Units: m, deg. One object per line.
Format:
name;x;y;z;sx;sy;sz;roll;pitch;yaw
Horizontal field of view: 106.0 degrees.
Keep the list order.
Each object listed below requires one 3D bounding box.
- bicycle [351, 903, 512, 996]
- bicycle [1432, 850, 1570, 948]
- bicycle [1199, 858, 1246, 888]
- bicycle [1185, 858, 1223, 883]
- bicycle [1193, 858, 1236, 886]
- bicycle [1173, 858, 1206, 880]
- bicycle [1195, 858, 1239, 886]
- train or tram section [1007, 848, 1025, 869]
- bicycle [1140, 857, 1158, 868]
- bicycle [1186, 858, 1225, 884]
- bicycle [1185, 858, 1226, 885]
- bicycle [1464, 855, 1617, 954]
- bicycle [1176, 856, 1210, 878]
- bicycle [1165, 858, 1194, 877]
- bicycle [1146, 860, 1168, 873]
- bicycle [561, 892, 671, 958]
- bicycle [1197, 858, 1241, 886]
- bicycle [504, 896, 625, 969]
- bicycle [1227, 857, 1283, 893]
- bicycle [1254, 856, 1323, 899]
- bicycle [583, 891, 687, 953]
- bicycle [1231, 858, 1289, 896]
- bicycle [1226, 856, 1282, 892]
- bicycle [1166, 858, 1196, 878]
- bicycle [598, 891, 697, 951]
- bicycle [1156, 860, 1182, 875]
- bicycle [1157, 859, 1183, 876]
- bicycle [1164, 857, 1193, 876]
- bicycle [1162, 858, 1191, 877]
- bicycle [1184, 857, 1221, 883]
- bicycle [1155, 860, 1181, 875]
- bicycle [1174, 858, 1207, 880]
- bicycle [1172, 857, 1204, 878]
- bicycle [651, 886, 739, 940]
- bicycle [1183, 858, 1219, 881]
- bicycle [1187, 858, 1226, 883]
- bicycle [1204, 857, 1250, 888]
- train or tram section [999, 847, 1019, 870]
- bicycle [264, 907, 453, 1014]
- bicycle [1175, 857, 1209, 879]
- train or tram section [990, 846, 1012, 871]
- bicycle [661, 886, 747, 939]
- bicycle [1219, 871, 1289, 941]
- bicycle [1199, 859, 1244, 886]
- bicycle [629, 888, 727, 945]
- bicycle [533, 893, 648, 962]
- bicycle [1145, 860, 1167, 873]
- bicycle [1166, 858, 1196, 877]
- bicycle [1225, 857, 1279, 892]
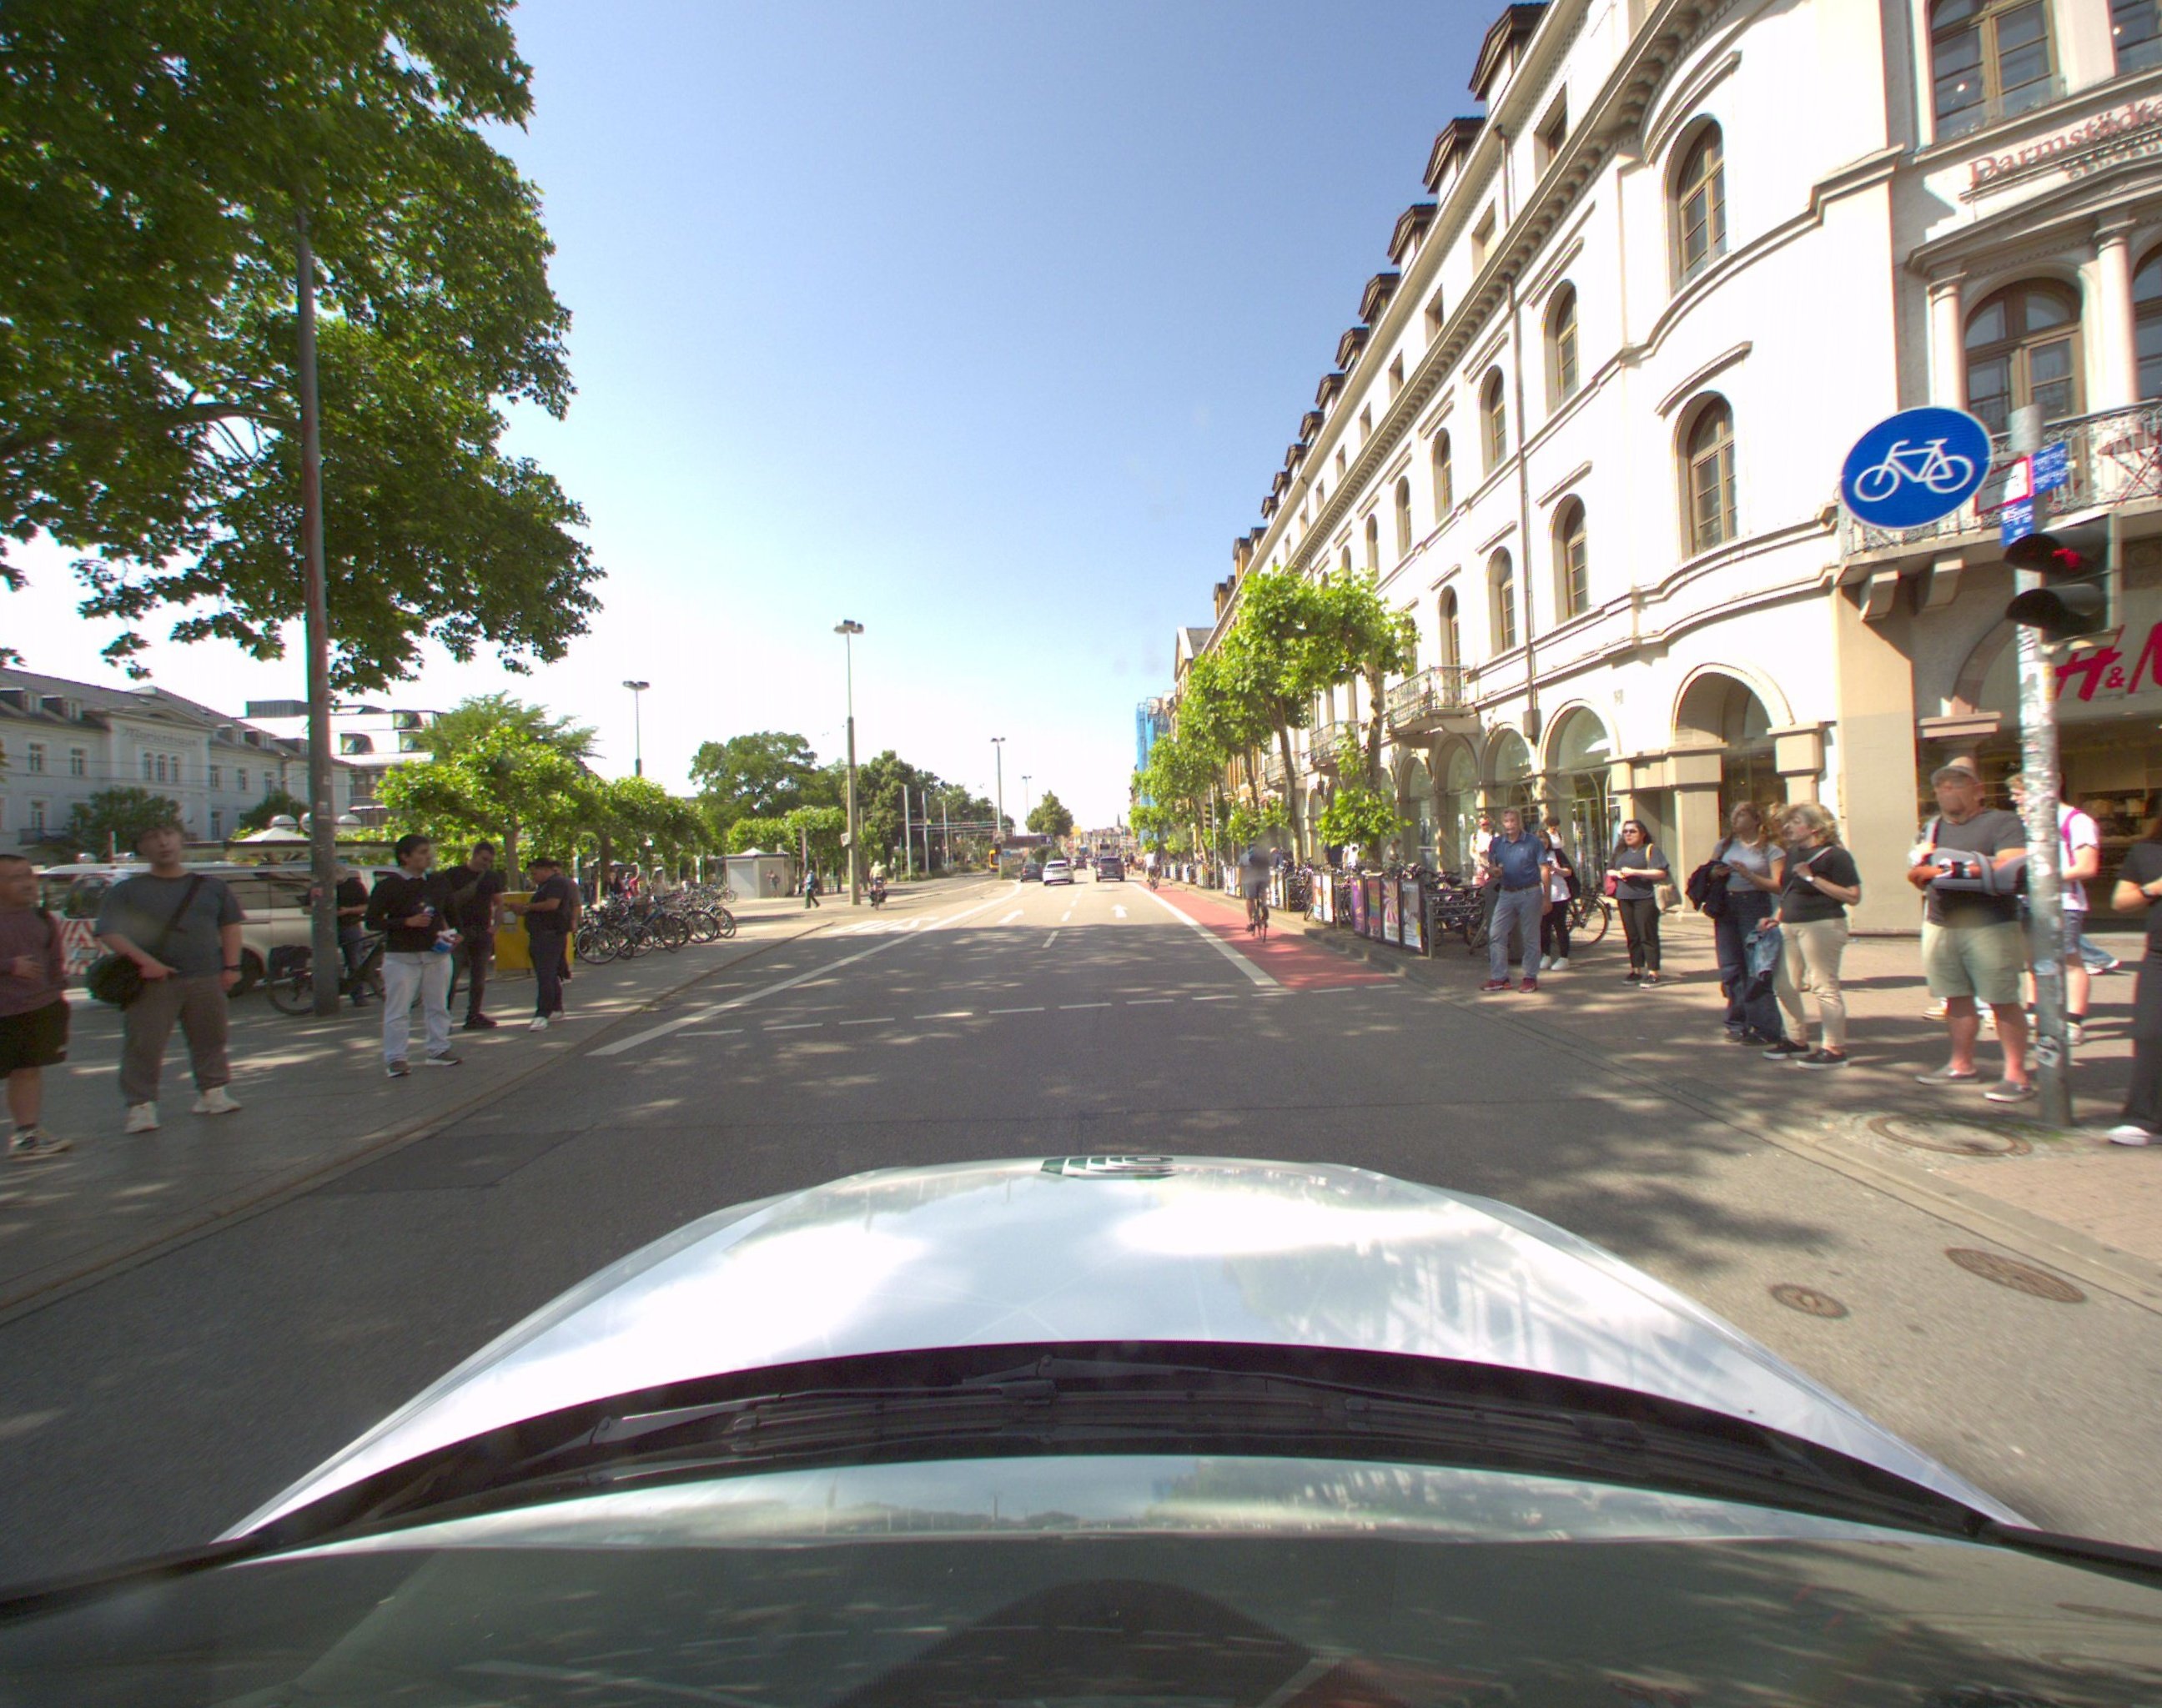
bicycle;-8.789;1.284;11.052;1.748;1.147;0.482;-2;-1;-2
bicycle;5.429;0.571;10.569;1.523;1.197;0.425;-2;-1;1
bicycle;5.731;0.749;33.020;1.748;1.147;0.482;-2;-1;-2
bicycle;5.956;0.792;39.376;1.748;1.147;0.482;-2;-1;-2
bicycle;5.757;0.767;35.069;1.748;1.147;0.482;-2;-1;-2
bicycle;6.123;0.839;46.127;1.748;1.147;0.482;-2;-1;-2
bicycle;5.753;0.761;34.575;1.748;1.105;0.482;-2;-1;-2
train or tram section;-11.390;0.863;143.091;2.604;3.581;6.017;0;-1;0
bicycle;6.899;0.889;82.726;1.748;1.018;0.482;-2;-1;-2
bicycle;5.840;0.787;38.257;1.748;1.147;0.482;-2;-1;-2
bicycle;5.633;0.777;36.789;1.748;1.147;0.482;-2;-1;-2
bicycle;5.666;0.610;10.074;1.623;1.147;0.425;-2;-1;-1
bicycle;6.060;0.696;44.000;1.748;1.147;0.499;-2;-1;-2
bicycle;6.183;0.862;51.125;1.748;1.147;0.482;-2;-1;-2
bicycle;6.383;1.023;68.645;1.748;1.018;0.482;-2;-1;-2
bicycle;-8.808;1.342;15.457;1.748;1.147;0.482;-2;-1;-2
bicycle;5.765;0.756;34.073;1.748;1.087;0.482;-2;-1;-2
bicycle;-8.955;1.352;14.154;1.748;1.147;0.482;-2;-1;-2
bicycle;5.856;0.694;27.476;1.748;1.147;0.482;-2;-1;-2
bicycle;5.819;0.659;22.887;1.748;1.147;0.592;-2;-1;-2
bicycle;-8.849;1.340;16.201;1.748;1.147;0.482;-2;-1;-2
bicycle;5.773;0.742;26.284;1.748;1.147;0.482;-2;-1;-2
bicycle;5.944;0.684;28.026;1.794;1.194;0.482;-2;-1;-2
bicycle;6.163;0.874;50.051;1.748;1.147;0.482;-2;-1;-2
bicycle;-8.918;1.373;16.786;1.748;1.147;0.482;-2;-1;-2
bicycle;6.135;0.927;56.703;1.748;1.018;0.482;-2;-1;-2
bicycle;6.110;0.922;55.930;1.748;1.147;0.482;-2;-1;-2
bicycle;6.165;0.803;51.622;1.748;1.147;0.482;-2;-1;-2
bicycle;6.159;0.855;52.611;1.748;1.147;0.482;-2;-1;-2
bicycle;6.030;0.790;40.491;1.748;1.187;0.482;-2;-1;-2
bicycle;6.112;0.932;57.364;1.748;1.018;0.482;-2;-1;-2
bicycle;6.126;0.835;45.621;1.747;1.147;0.482;-2;-1;-1
bicycle;6.111;0.774;46.621;1.748;1.147;0.482;-2;-1;-2
bicycle;-8.904;1.356;18.807;1.748;1.147;0.482;-2;-1;-2
bicycle;6.041;0.778;41.053;1.748;1.123;0.482;-2;-1;-2
bicycle;5.973;0.787;38.804;1.748;1.147;0.527;-2;-1;-2
bicycle;5.822;0.741;32.514;1.748;1.147;0.482;-2;-1;-2
train or tram section;-11.504;0.763;130.528;2.605;3.581;5.357;0;-1;0
bicycle;-8.570;1.251;9.695;1.748;1.147;0.482;-2;-1;-2
bicycle;6.088;0.770;44.596;1.748;1.147;0.482;-2;-1;-2
train or tram section;-11.645;0.668;118.731;2.605;3.581;6.103;0;-1;0
bicycle;-8.928;1.381;19.312;1.748;1.147;0.482;-2;-1;-2
bicycle;2.942;0.848;14.048;0.732;1.093;2.130;0;-1;-1
bicycle;5.786;0.751;33.516;1.748;1.068;0.482;-2;-1;-2
bicycle;-8.820;1.353;17.849;1.855;1.147;0.482;-2;-1;-2
bicycle;-8.923;1.330;14.835;1.748;1.147;0.482;-2;-1;-2
bicycle;6.381;1.056;69.246;1.748;1.018;0.482;-2;-1;-2
bicycle;6.199;0.849;50.629;1.748;1.147;0.482;-2;-1;-2
bicycle;6.000;0.708;28.577;1.769;1.147;0.482;-2;-1;-2
